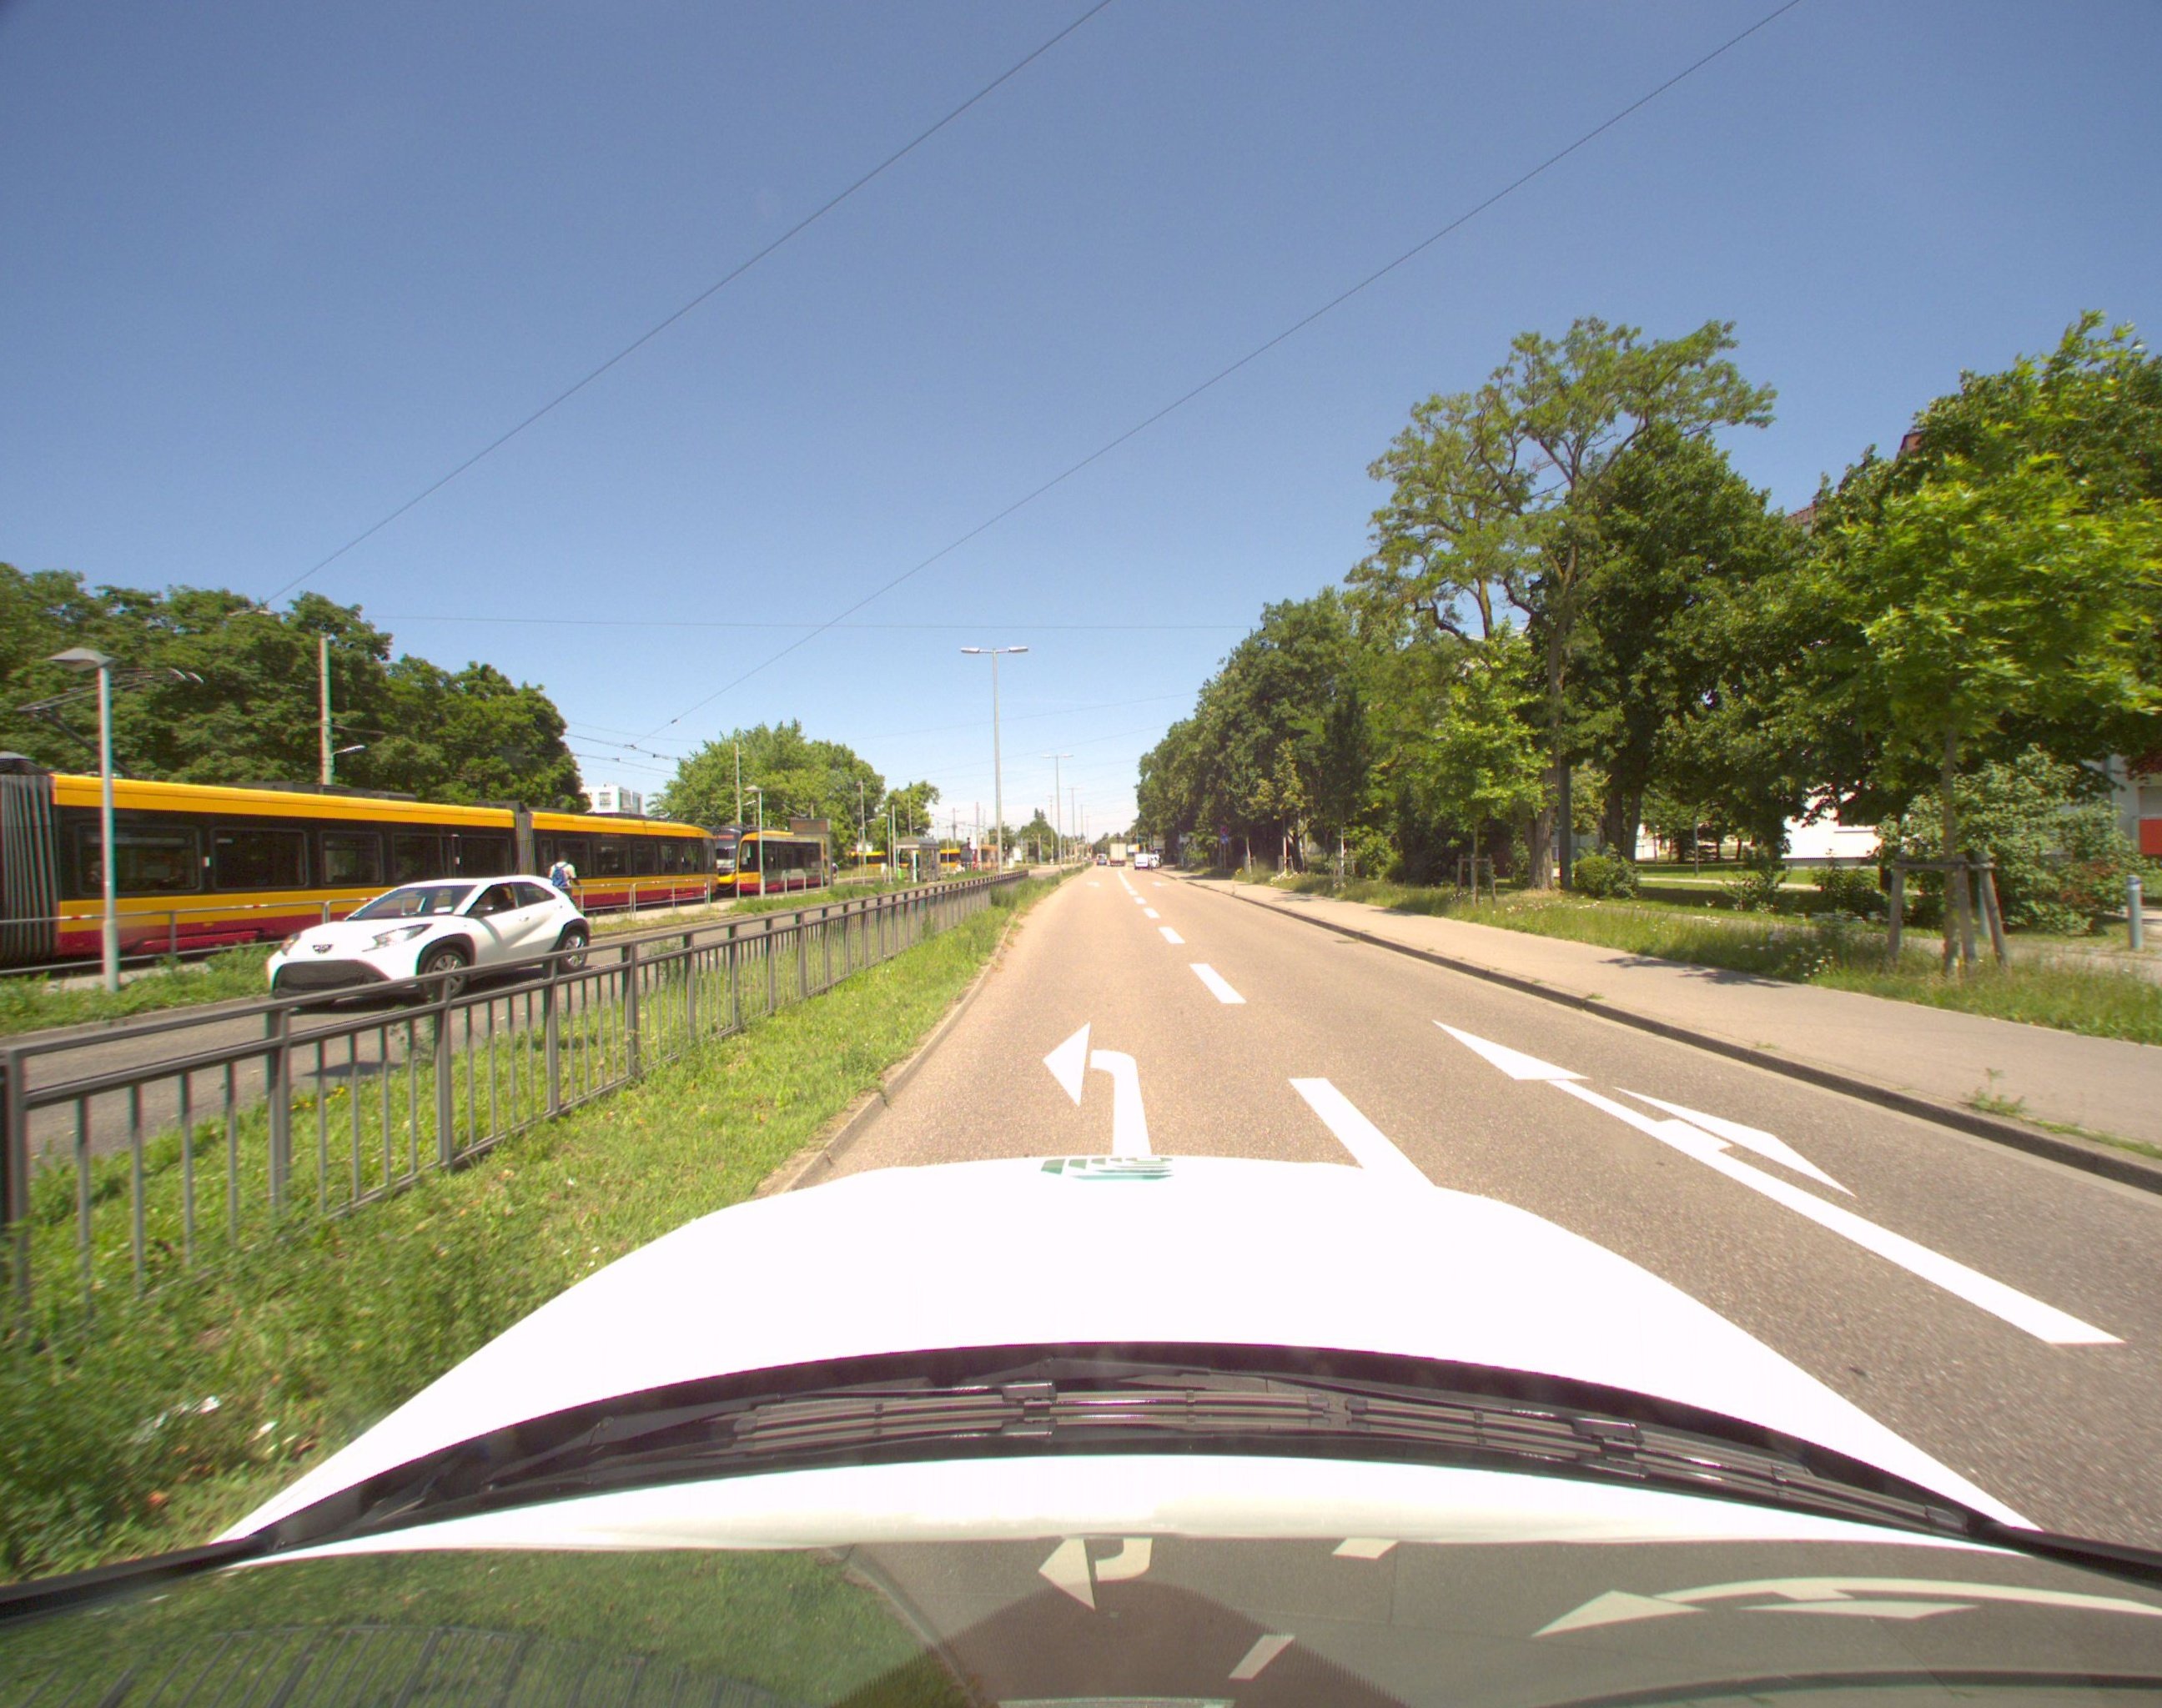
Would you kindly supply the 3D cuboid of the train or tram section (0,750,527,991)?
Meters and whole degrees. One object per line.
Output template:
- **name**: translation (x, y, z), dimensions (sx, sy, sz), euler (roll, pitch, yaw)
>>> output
- **train or tram section**: translation (-18.182, 0.260, 17.958), dimensions (3.032, 3.741, 12.599), euler (0, 0, 1)

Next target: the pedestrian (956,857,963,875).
- **pedestrian**: translation (-10.717, 1.041, 71.629), dimensions (0.533, 1.565, 0.582), euler (0, 0, 0)

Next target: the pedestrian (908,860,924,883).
- **pedestrian**: translation (-11.072, 1.145, 54.534), dimensions (0.871, 1.546, 1.025), euler (0, 0, -1)

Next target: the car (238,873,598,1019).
- **car**: translation (-8.507, 1.072, 10.959), dimensions (1.764, 1.505, 3.719), euler (-1, 0, 0)

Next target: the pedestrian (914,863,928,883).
- **pedestrian**: translation (-10.294, 1.199, 52.453), dimensions (0.699, 1.283, 0.840), euler (0, 0, -1)

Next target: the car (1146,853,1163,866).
- **car**: translation (9.070, 0.654, 100.988), dimensions (1.694, 1.654, 4.398), euler (0, 0, 0)

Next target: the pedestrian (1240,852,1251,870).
- **pedestrian**: translation (12.405, 0.526, 61.591), dimensions (0.705, 1.398, 0.763), euler (0, 0, 2)

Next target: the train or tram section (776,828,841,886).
- **train or tram section**: translation (-18.736, 0.177, 56.751), dimensions (3.046, 3.624, 12.398), euler (0, 0, -13)

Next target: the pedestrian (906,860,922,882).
- **pedestrian**: translation (-11.392, 1.155, 55.631), dimensions (0.928, 1.546, 0.985), euler (0, 0, -1)

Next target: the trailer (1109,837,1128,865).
- **trailer**: translation (6.050, -0.491, 133.374), dimensions (2.818, 4.421, 8.748), euler (0, 0, 0)

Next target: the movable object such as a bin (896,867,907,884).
- **movable object such as a bin**: translation (-10.806, 1.282, 49.037), dimensions (0.480, 0.978, 0.644), euler (-1, 0, -3)

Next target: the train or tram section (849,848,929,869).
- **train or tram section**: translation (-32.749, 0.715, 139.026), dimensions (13.148, 3.466, 3.053), euler (0, 0, 8)

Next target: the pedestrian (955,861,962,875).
- **pedestrian**: translation (-10.558, 1.208, 70.215), dimensions (0.579, 1.189, 0.536), euler (0, 0, -1)

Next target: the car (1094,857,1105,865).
- **car**: translation (3.248, 1.204, 144.345), dimensions (1.886, 1.372, 4.431), euler (1, 0, 1)

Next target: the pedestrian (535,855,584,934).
- **pedestrian**: translation (-12.041, 0.923, 18.832), dimensions (0.630, 1.791, 0.776), euler (0, 0, 0)

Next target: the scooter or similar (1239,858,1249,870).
- **scooter or similar**: translation (12.431, 0.779, 62.105), dimensions (0.705, 0.893, 0.763), euler (0, 0, 2)

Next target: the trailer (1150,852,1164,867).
- **trailer**: translation (9.047, 0.655, 97.351), dimensions (1.464, 1.669, 2.856), euler (0, 0, 0)

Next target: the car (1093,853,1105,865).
- **car**: translation (3.310, 0.922, 151.235), dimensions (1.987, 2.111, 4.747), euler (-1, 1, 0)

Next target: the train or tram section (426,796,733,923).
- **train or tram section**: translation (-17.790, 0.157, 30.887), dimensions (3.032, 3.767, 13.267), euler (0, 0, 2)

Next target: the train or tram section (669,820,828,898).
- **train or tram section**: translation (-17.478, 0.228, 44.494), dimensions (3.034, 3.624, 13.894), euler (0, 0, 0)

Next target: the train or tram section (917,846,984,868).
- **train or tram section**: translation (-21.363, 0.533, 132.775), dimensions (12.586, 3.466, 3.065), euler (0, 0, 39)

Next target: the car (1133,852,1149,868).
- **car**: translation (6.749, 0.664, 91.821), dimensions (1.703, 1.747, 4.429), euler (0, 0, 2)
